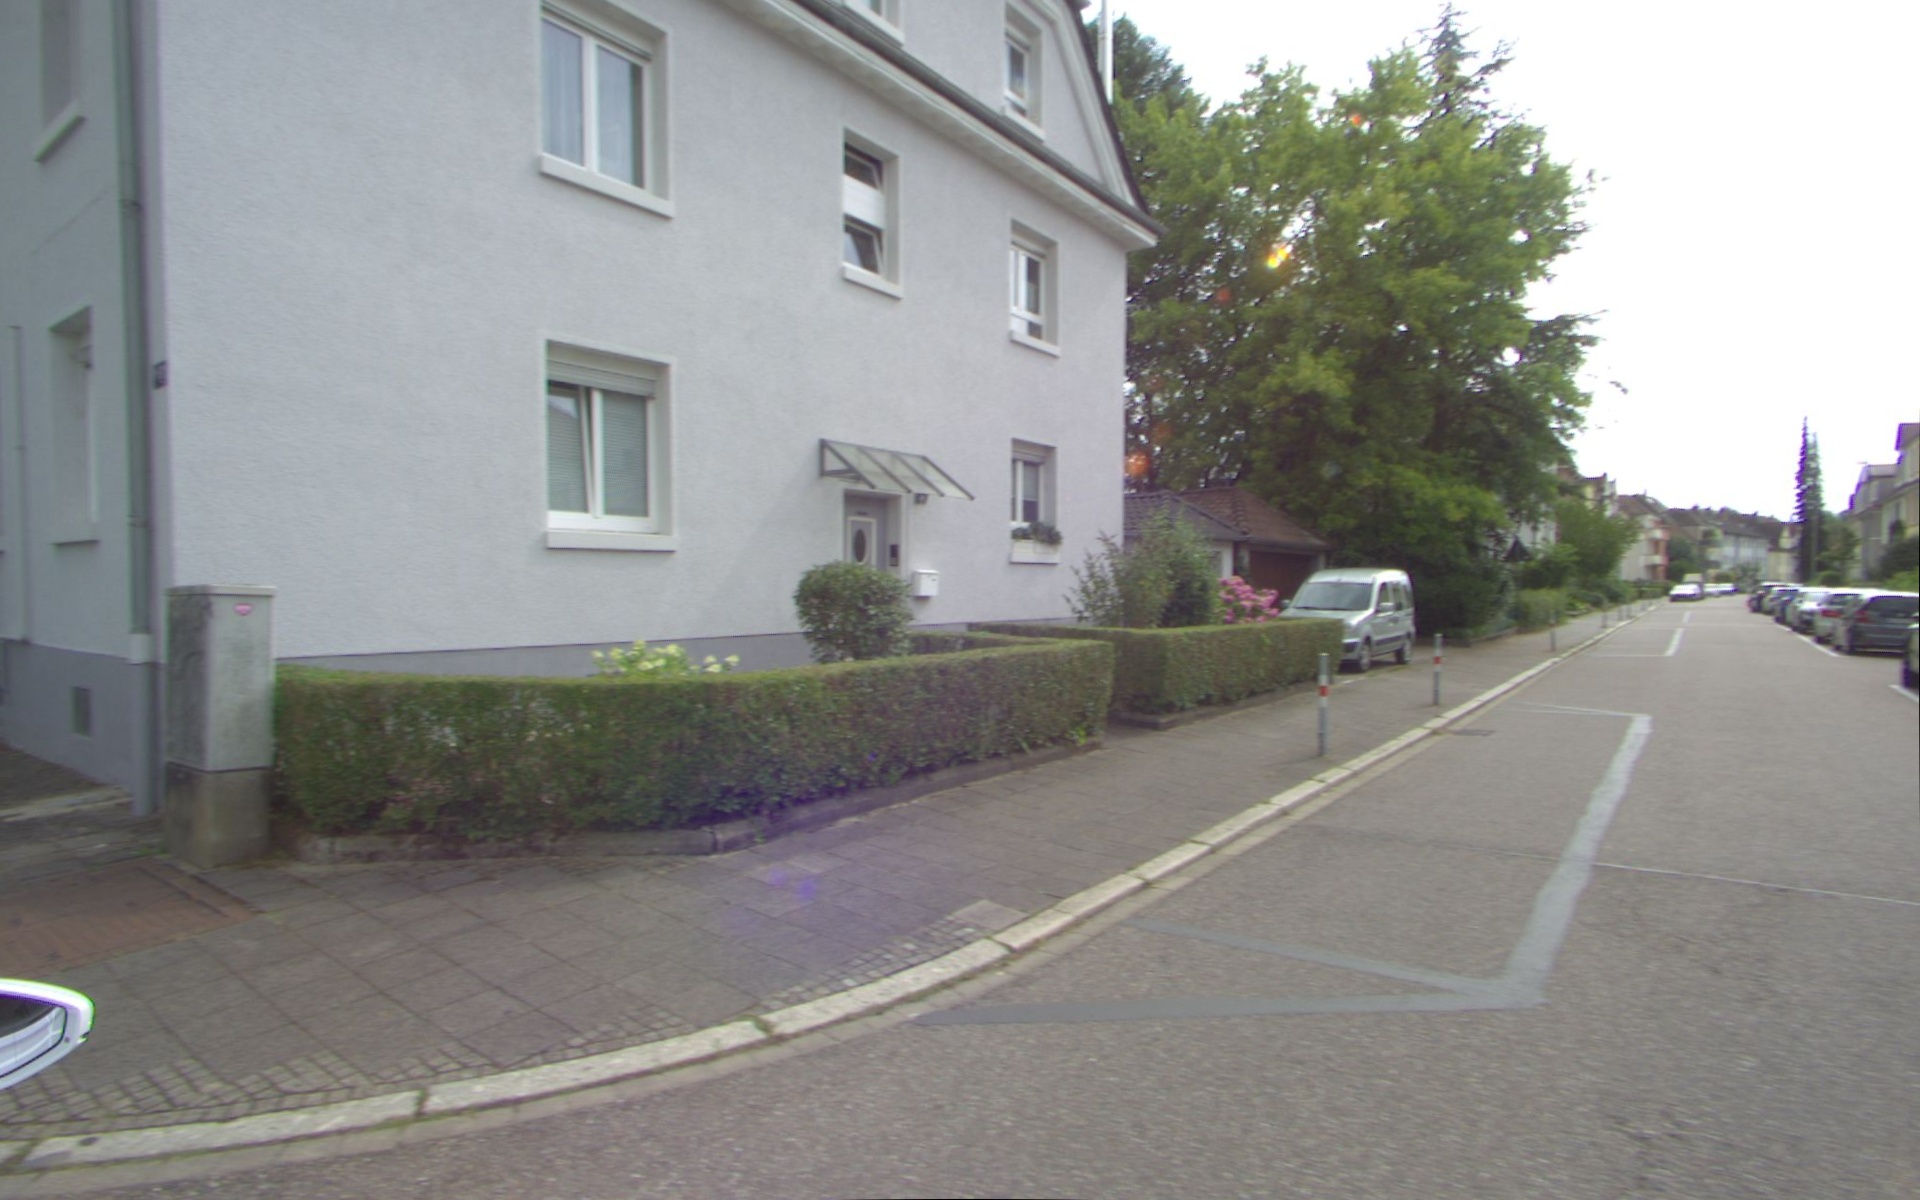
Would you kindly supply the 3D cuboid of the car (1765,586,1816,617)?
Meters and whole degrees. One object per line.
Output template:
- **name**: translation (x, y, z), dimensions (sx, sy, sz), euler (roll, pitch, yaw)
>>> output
- **car**: translation (42.566, 0.046, 51.394), dimensions (1.836, 1.491, 4.144), euler (1, 2, 38)

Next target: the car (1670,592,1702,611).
- **car**: translation (65.288, 0.107, 90.068), dimensions (1.976, 1.662, 3.967), euler (1, 2, 41)

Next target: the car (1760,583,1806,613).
- **car**: translation (45.756, -0.153, 55.753), dimensions (1.836, 1.599, 4.144), euler (1, 2, 38)

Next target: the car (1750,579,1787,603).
- **car**: translation (57.157, -0.656, 70.863), dimensions (1.836, 1.599, 4.145), euler (1, 2, 37)

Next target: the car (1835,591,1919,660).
- **car**: translation (22.213, 0.544, 23.842), dimensions (1.836, 1.491, 4.144), euler (1, 2, 38)

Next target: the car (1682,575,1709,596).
- **car**: translation (73.210, -1.398, 99.632), dimensions (1.975, 2.041, 3.969), euler (1, 2, 39)

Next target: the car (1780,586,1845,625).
- **car**: translation (35.294, 0.183, 41.535), dimensions (1.836, 1.491, 4.144), euler (1, 2, 38)

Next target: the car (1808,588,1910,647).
- **car**: translation (25.309, 0.431, 28.304), dimensions (1.836, 1.491, 4.144), euler (1, 2, 38)

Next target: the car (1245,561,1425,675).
- **car**: translation (7.010, 0.259, 18.498), dimensions (1.975, 1.863, 3.970), euler (1, 2, 39)

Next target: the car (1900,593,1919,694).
- **car**: translation (15.175, 0.663, 14.523), dimensions (1.836, 1.491, 4.144), euler (1, 2, 38)

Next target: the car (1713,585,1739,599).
- **car**: translation (93.502, -0.964, 122.209), dimensions (3.960, 1.557, 1.980), euler (-1, 1, -44)

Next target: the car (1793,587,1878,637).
- **car**: translation (28.661, 0.335, 32.877), dimensions (1.836, 1.491, 4.144), euler (1, 2, 38)

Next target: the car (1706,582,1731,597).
- **car**: translation (84.599, -1.173, 111.638), dimensions (1.976, 1.662, 3.967), euler (1, 1, 41)

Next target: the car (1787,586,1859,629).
- **car**: translation (32.628, 0.235, 37.964), dimensions (1.836, 1.491, 4.144), euler (1, 2, 38)
